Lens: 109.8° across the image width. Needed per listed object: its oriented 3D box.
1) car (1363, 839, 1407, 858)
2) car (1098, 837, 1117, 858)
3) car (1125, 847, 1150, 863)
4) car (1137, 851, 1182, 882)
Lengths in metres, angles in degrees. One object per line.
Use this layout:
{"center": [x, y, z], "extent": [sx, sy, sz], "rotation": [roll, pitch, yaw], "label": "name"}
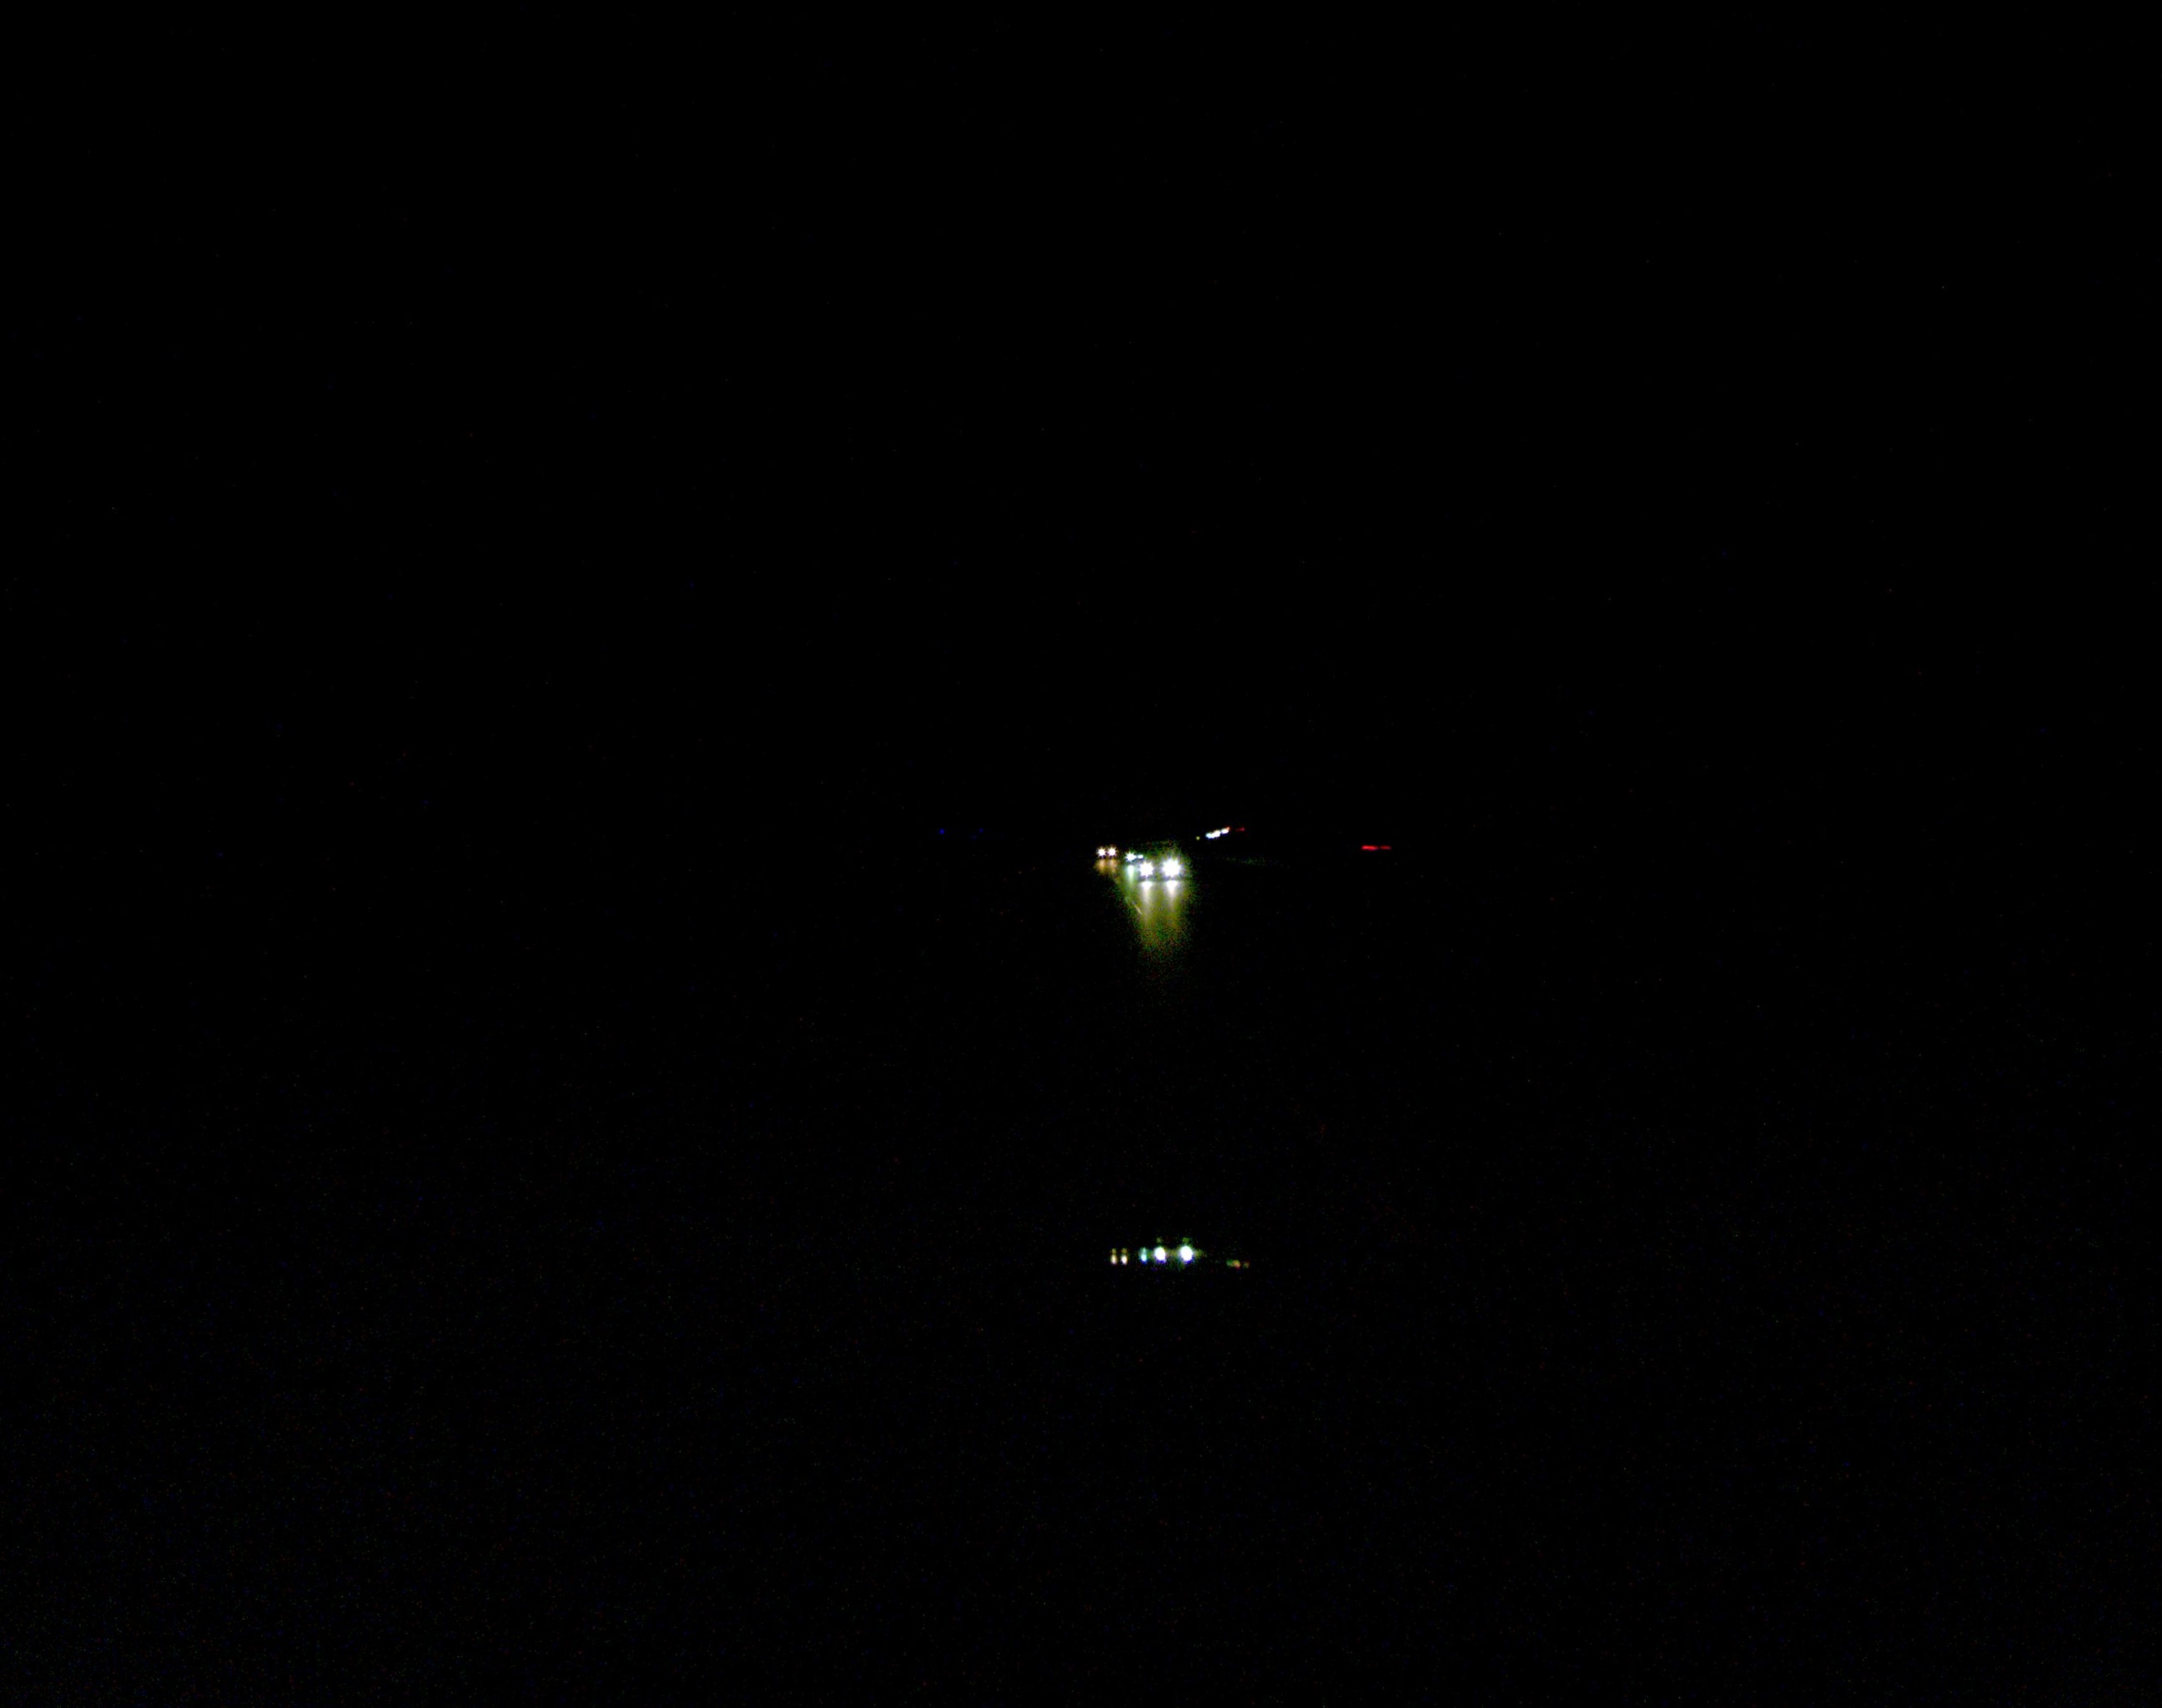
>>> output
{"center": [25.861, -0.484, 64.733], "extent": [1.998, 1.499, 4.315], "rotation": [-2, 1, 0], "label": "car"}
{"center": [3.948, -1.050, 111.802], "extent": [2.533, 2.889, 6.227], "rotation": [-3, 1, 3], "label": "car"}
{"center": [5.895, 0.057, 78.781], "extent": [1.997, 1.456, 4.002], "rotation": [-3, 1, 12], "label": "car"}
{"center": [4.089, 0.610, 40.132], "extent": [1.833, 1.404, 3.998], "rotation": [-3, 1, -2], "label": "car"}
